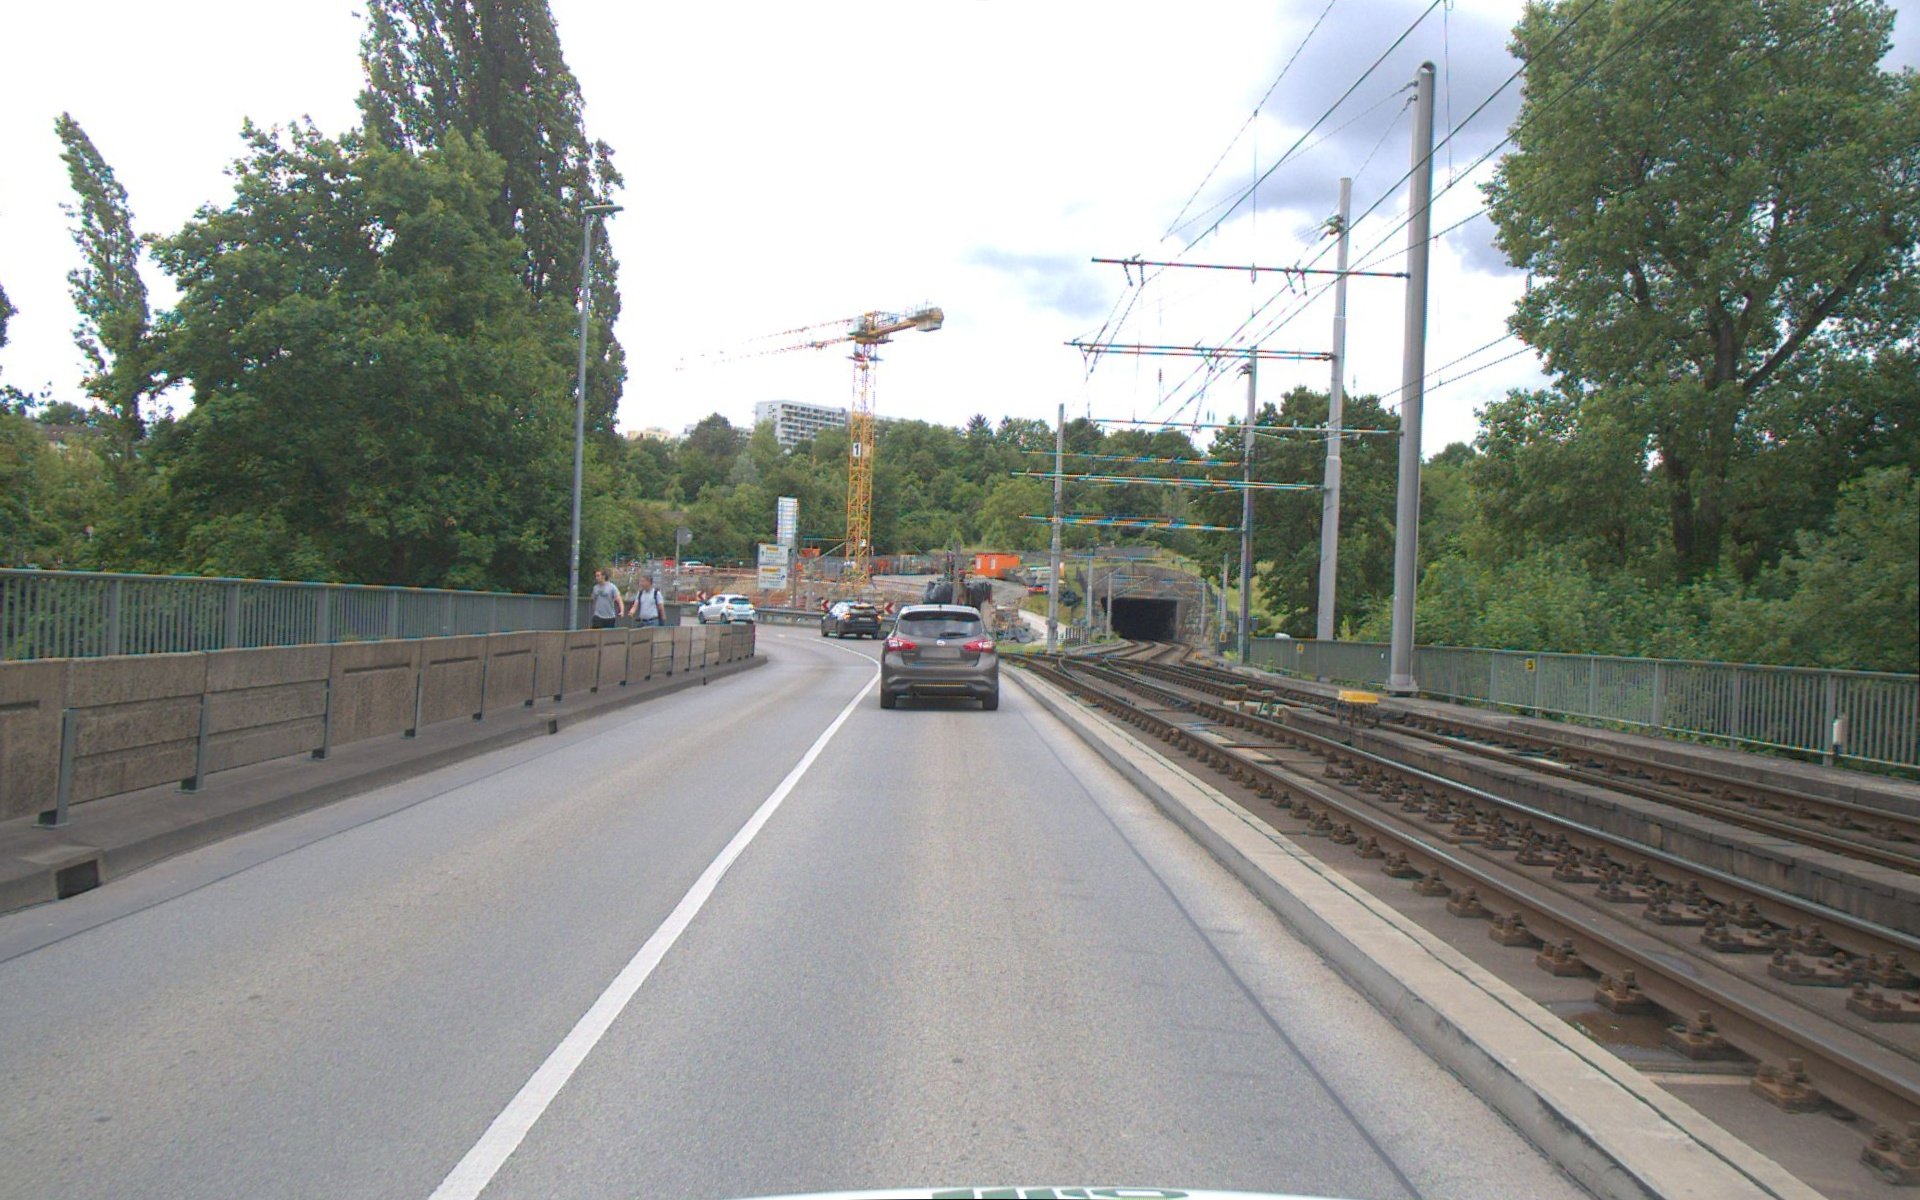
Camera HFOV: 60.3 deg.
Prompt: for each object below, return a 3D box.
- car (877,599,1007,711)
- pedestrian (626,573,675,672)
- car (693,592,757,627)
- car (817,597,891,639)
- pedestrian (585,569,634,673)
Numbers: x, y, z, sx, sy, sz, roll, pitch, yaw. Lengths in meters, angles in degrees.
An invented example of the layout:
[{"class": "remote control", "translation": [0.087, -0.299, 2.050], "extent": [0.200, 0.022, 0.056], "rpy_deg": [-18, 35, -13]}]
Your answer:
[{"class": "car", "translation": [-0.258, 0.789, 25.349], "extent": [1.792, 1.536, 3.999], "rpy_deg": [1, 0, 0]}, {"class": "pedestrian", "translation": [-5.536, 0.405, 29.623], "extent": [0.706, 1.731, 0.723], "rpy_deg": [2, 0, -1]}, {"class": "car", "translation": [-11.832, 0.473, 83.144], "extent": [1.663, 1.634, 4.264], "rpy_deg": [1, 0, -31]}, {"class": "car", "translation": [-4.453, 0.728, 68.861], "extent": [1.658, 1.634, 4.276], "rpy_deg": [1, 0, -25]}, {"class": "pedestrian", "translation": [-6.470, 0.385, 30.555], "extent": [0.706, 1.872, 0.723], "rpy_deg": [2, 0, -1]}]
